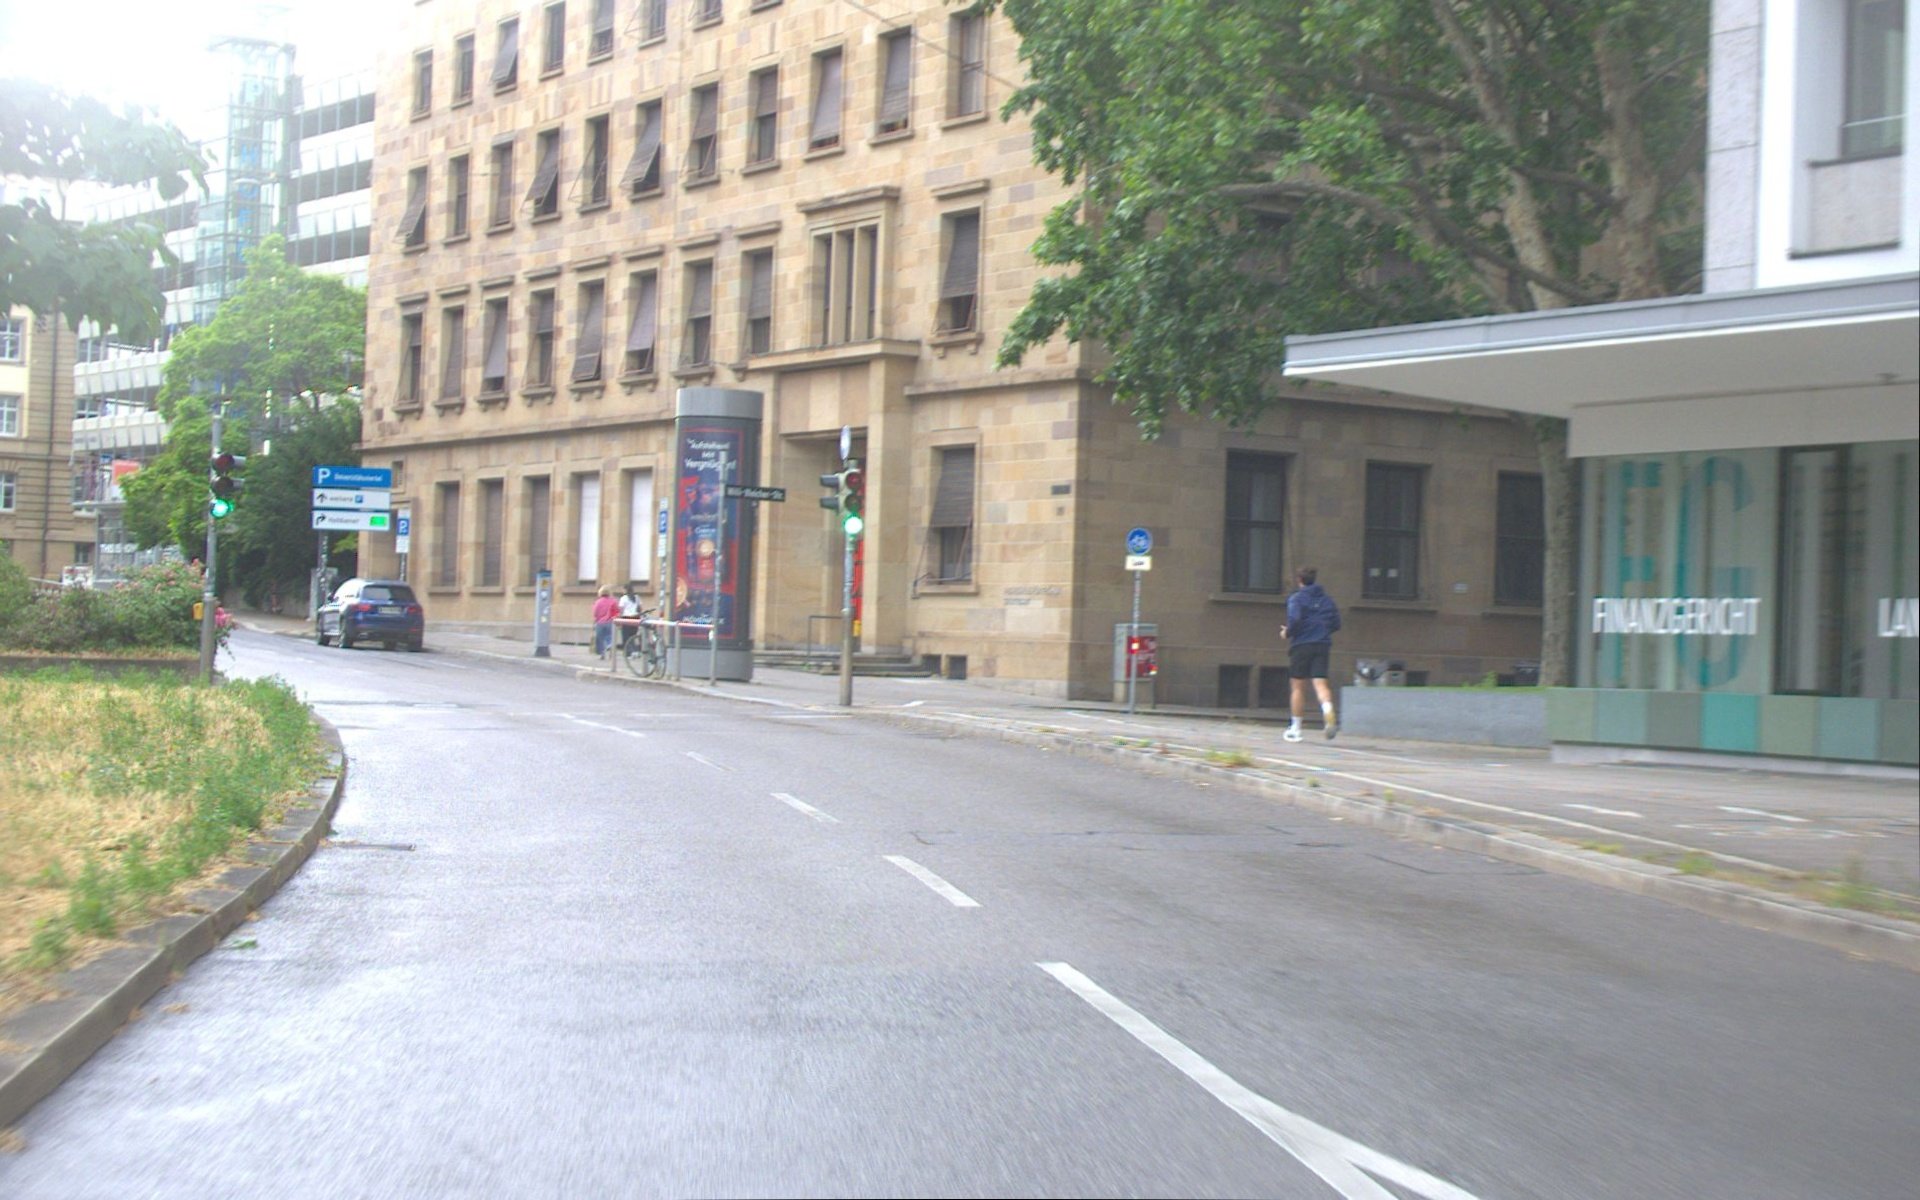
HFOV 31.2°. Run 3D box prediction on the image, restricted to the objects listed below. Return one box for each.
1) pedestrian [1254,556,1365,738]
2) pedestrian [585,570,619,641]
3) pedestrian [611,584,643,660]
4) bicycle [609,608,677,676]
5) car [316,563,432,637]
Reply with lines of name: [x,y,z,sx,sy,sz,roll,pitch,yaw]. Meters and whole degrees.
pedestrian: [3.481,0.462,34.291,0.779,1.766,0.863,2,0,-14]
pedestrian: [-7.617,0.118,73.173,0.524,1.487,0.674,3,0,-19]
pedestrian: [-7.129,0.471,73.570,0.524,1.597,0.674,3,0,-15]
bicycle: [-5.031,0.651,54.463,0.489,1.009,1.928,3,0,-22]
car: [-13.794,-0.014,80.772,1.767,1.614,4.158,3,-1,-22]
